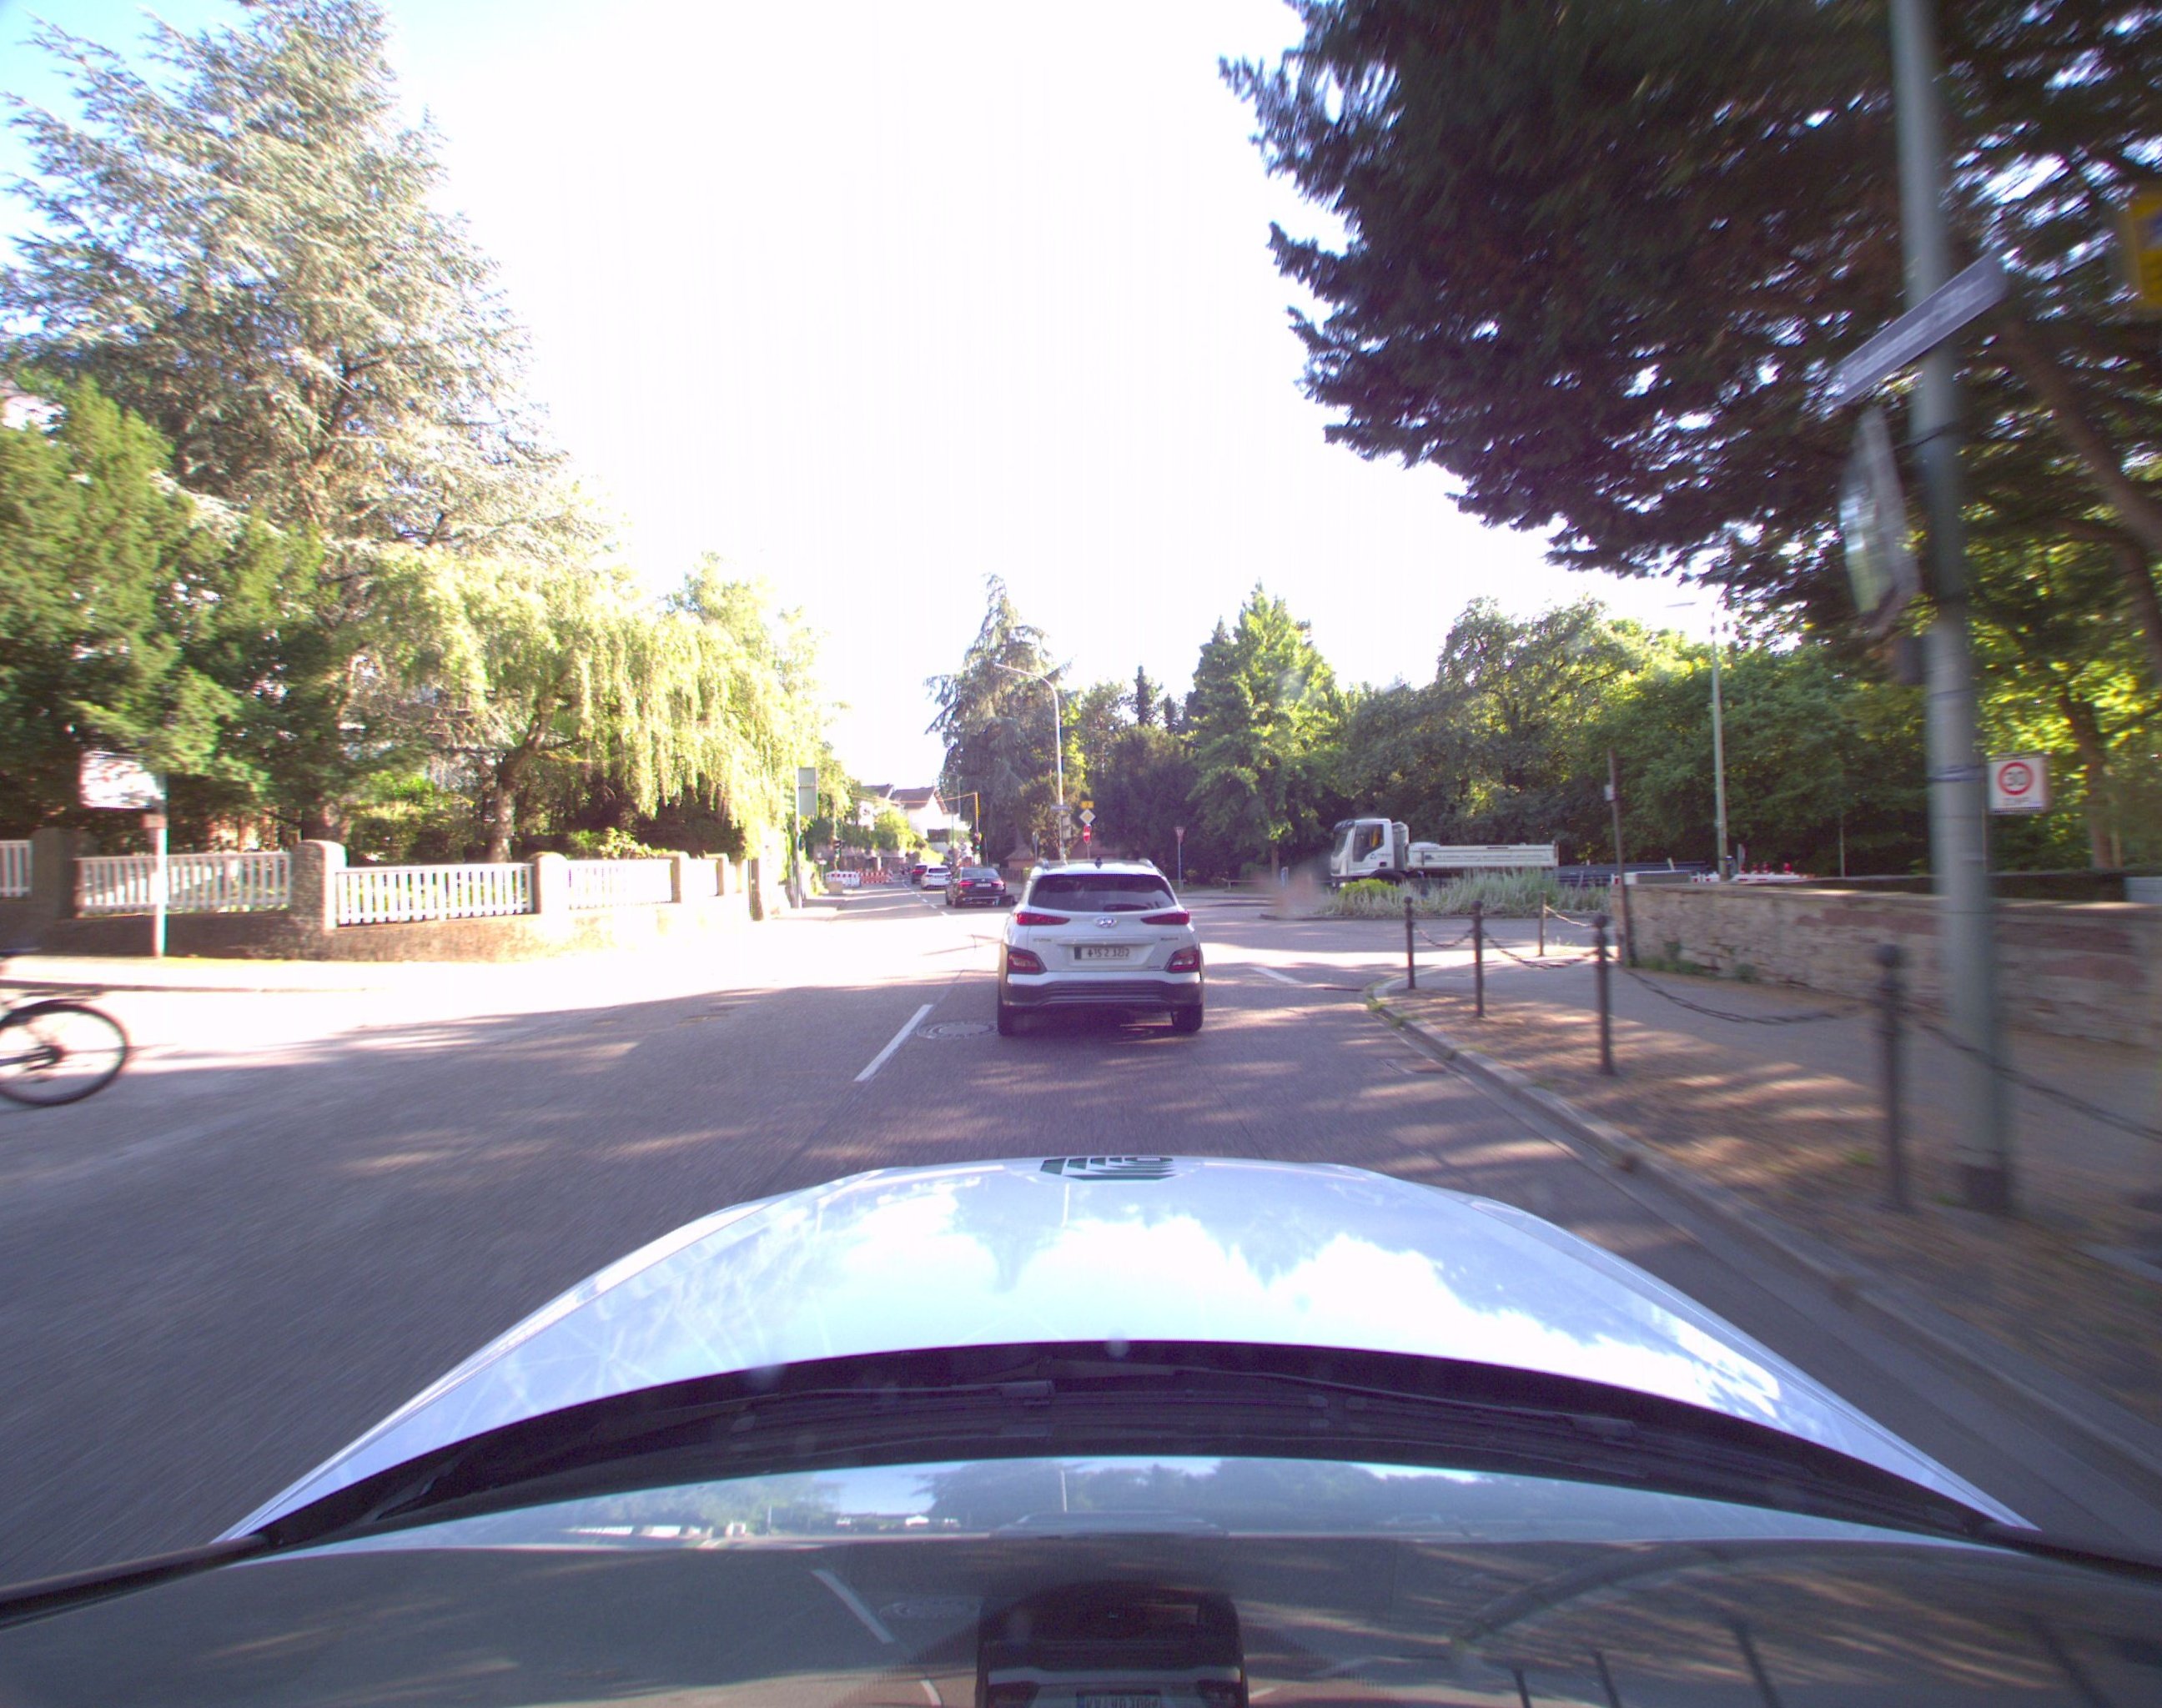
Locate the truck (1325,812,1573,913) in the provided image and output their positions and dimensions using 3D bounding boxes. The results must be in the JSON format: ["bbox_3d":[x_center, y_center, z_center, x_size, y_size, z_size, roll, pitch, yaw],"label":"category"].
[{"bbox_3d":[11.070,0.264,25.079,6.549,2.895,2.439,0,-1,8],"label":"truck"}]

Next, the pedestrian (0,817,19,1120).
[{"bbox_3d":[-6.846,0.689,4.570,0.947,1.826,0.548,1,1,-35],"label":"pedestrian"}]

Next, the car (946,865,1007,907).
[{"bbox_3d":[-3.897,1.110,29.847,1.711,1.434,4.343,0,-1,-15],"label":"car"}]

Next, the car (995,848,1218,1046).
[{"bbox_3d":[0.049,0.763,8.577,1.817,1.574,3.992,0,-1,-5],"label":"car"}]

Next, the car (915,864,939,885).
[{"bbox_3d":[-12.606,1.624,66.401,1.833,1.662,3.983,0,-1,-12],"label":"car"}]

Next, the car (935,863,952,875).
[{"bbox_3d":[-18.995,2.029,112.480,1.827,1.662,3.996,0,-1,-3],"label":"car"}]

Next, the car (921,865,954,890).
[{"bbox_3d":[-9.147,1.440,51.619,1.808,1.537,3.981,0,-1,-14],"label":"car"}]

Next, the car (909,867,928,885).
[{"bbox_3d":[-17.004,2.287,85.145,1.833,1.741,3.983,0,-1,-12],"label":"car"}]

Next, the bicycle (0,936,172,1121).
[{"bbox_3d":[-7.055,1.106,5.031,1.825,1.043,0.556,0,1,-34],"label":"bicycle"}]
